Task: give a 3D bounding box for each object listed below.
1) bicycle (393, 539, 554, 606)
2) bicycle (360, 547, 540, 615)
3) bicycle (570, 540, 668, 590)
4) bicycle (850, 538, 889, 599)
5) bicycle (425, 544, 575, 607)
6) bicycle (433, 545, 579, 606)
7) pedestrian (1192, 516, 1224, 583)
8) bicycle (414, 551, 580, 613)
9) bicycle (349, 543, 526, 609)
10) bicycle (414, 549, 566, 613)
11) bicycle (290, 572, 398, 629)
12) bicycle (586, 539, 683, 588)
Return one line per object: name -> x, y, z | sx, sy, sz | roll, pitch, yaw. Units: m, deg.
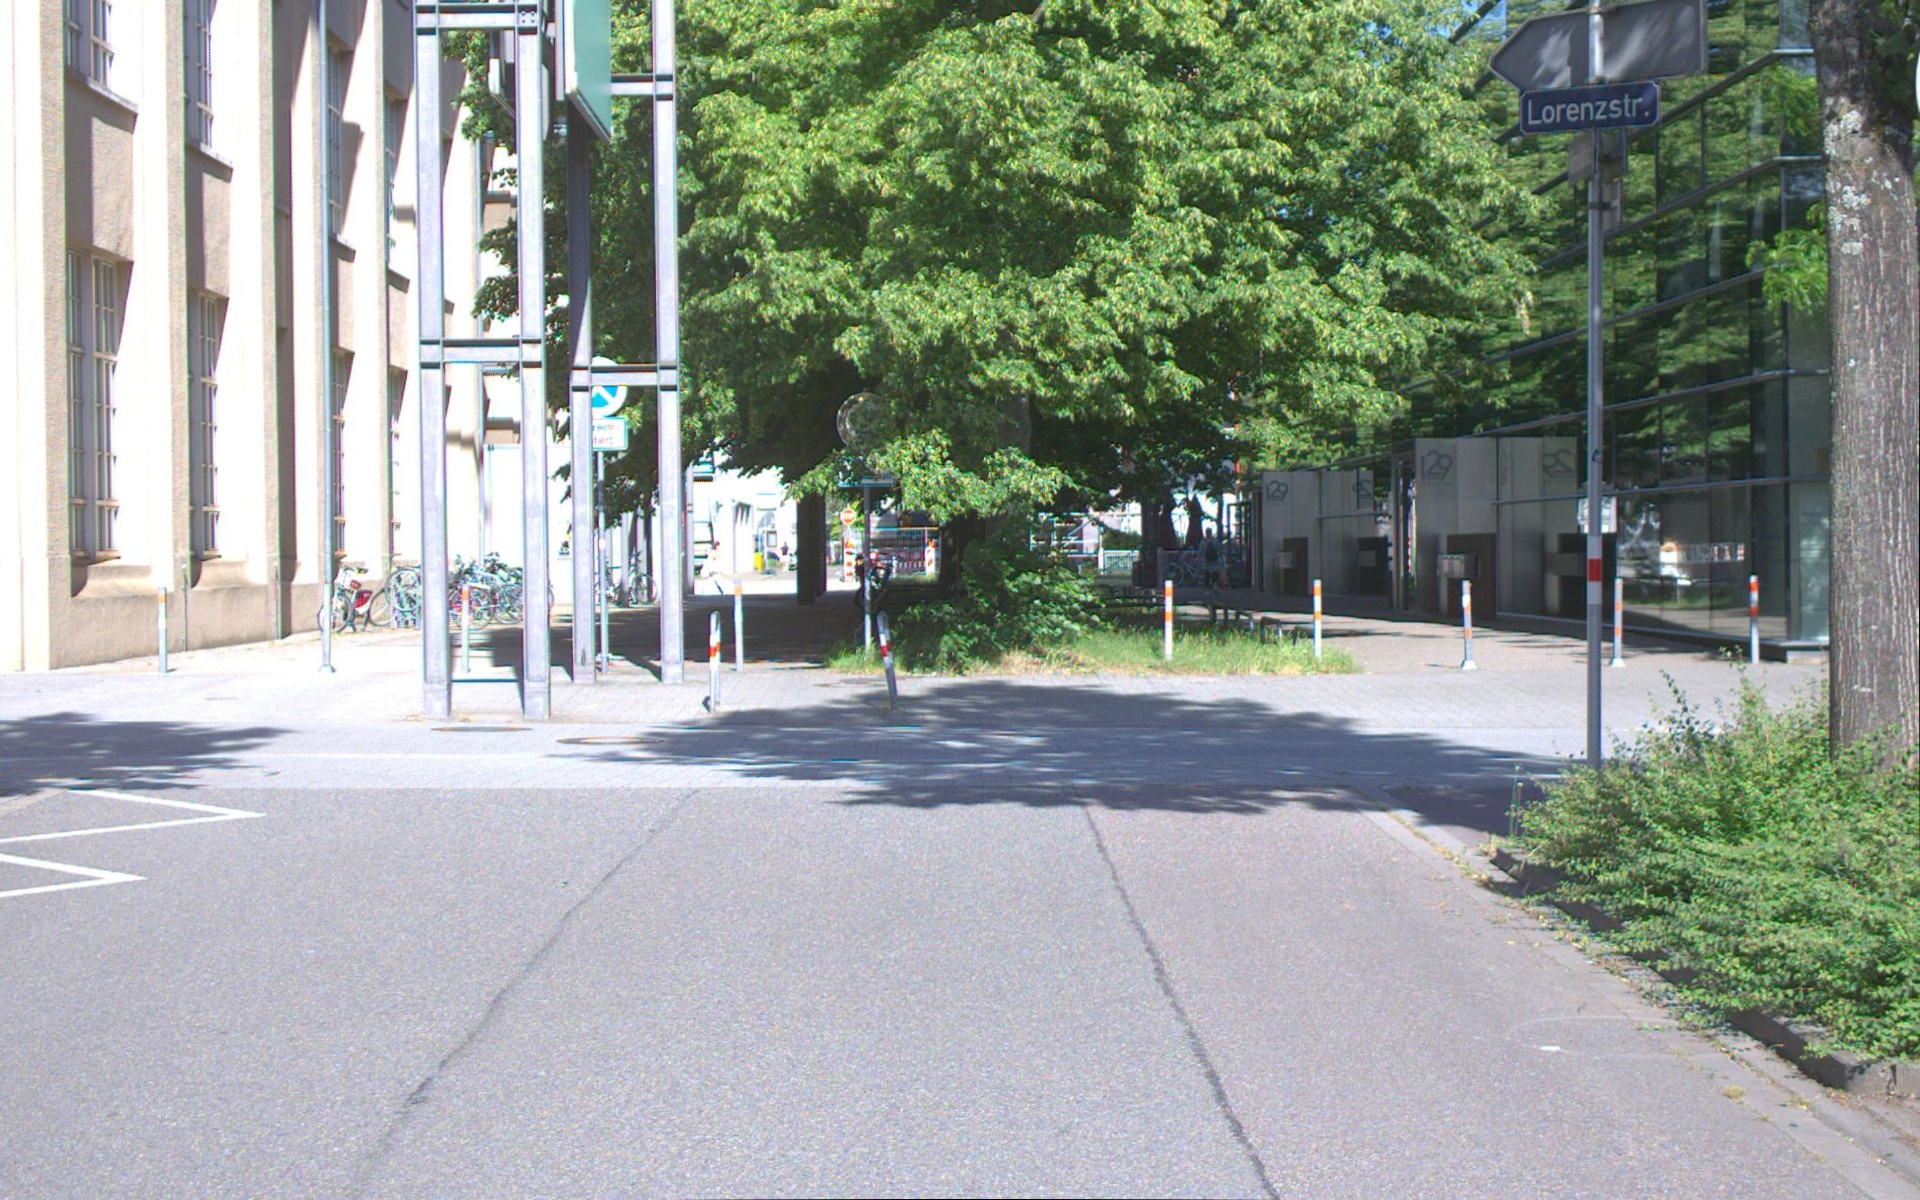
bicycle -> -8.708, -0.501, 61.663 | 2.800, 1.147, 0.719 | -1, 1, -5
bicycle -> -8.147, -0.304, 55.007 | 2.800, 1.059, 0.719 | 0, 1, -5
bicycle -> -7.387, -0.755, 74.602 | 2.058, 1.062, 0.506 | 0, 1, 2
bicycle -> -1.814, -0.646, 68.885 | 0.619, 1.193, 2.132 | -1, 1, -6
bicycle -> -8.560, -0.463, 64.012 | 2.731, 1.147, 0.719 | 0, 1, -5
bicycle -> -8.690, -0.480, 65.866 | 2.731, 1.147, 0.719 | 0, 1, -5
pedestrian -> 5.719, -1.169, 79.250 | 0.717, 1.545, 0.690 | 0, 1, 6
bicycle -> -8.001, -0.315, 59.462 | 2.800, 1.059, 0.719 | 0, 1, -5
bicycle -> -8.579, -0.399, 56.524 | 2.800, 1.059, 0.719 | 0, 1, 0
bicycle -> -8.636, -0.349, 63.224 | 2.731, 1.147, 0.719 | 0, 1, -5
bicycle -> -9.289, -0.006, 51.937 | 0.778, 0.789, 2.883 | 0, 1, 7
bicycle -> -7.121, -0.802, 75.279 | 2.058, 1.062, 0.506 | 0, 1, 2
